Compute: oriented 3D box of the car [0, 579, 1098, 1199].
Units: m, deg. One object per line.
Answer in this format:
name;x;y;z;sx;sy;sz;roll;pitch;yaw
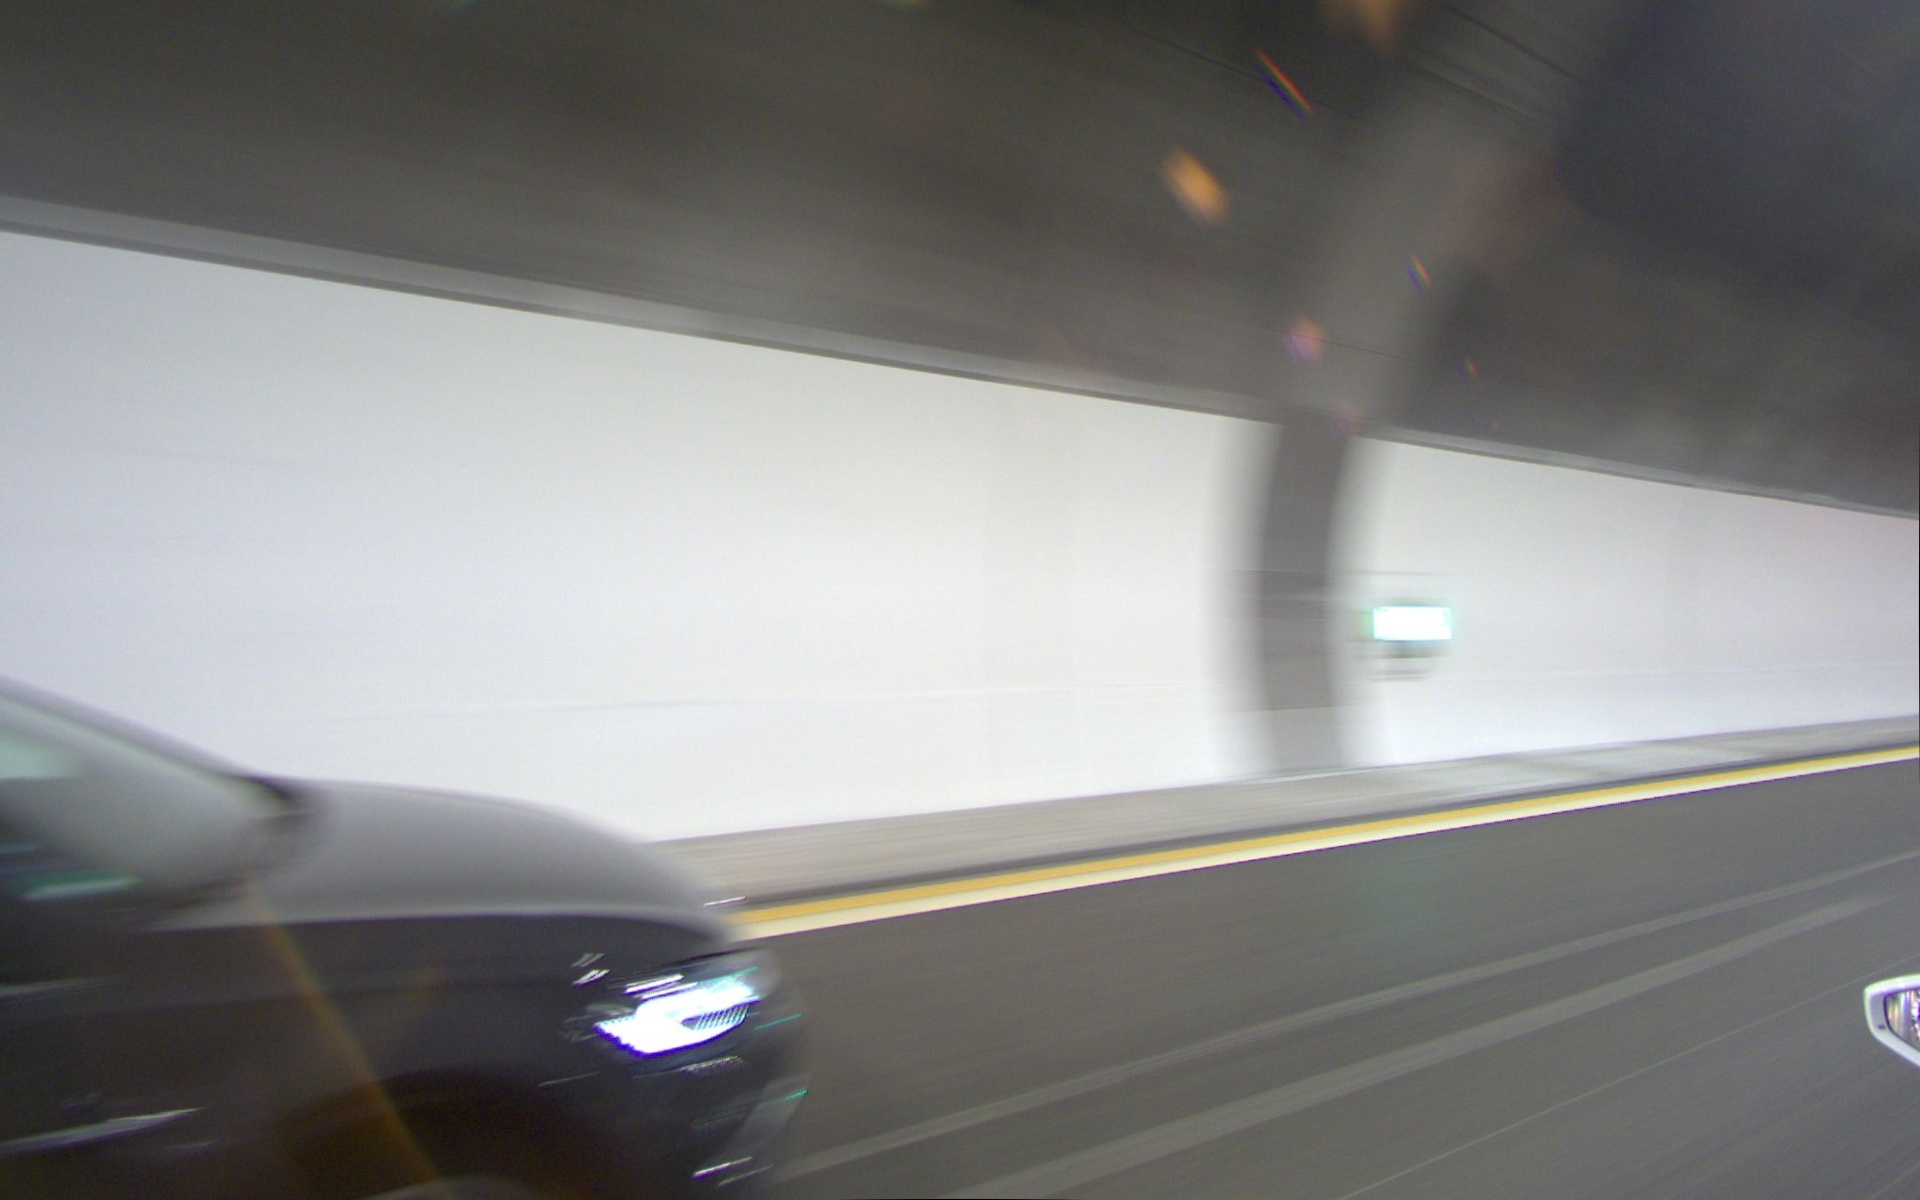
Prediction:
car;-2.232;0.683;1.690;4.826;1.457;1.769;1;0;-31
